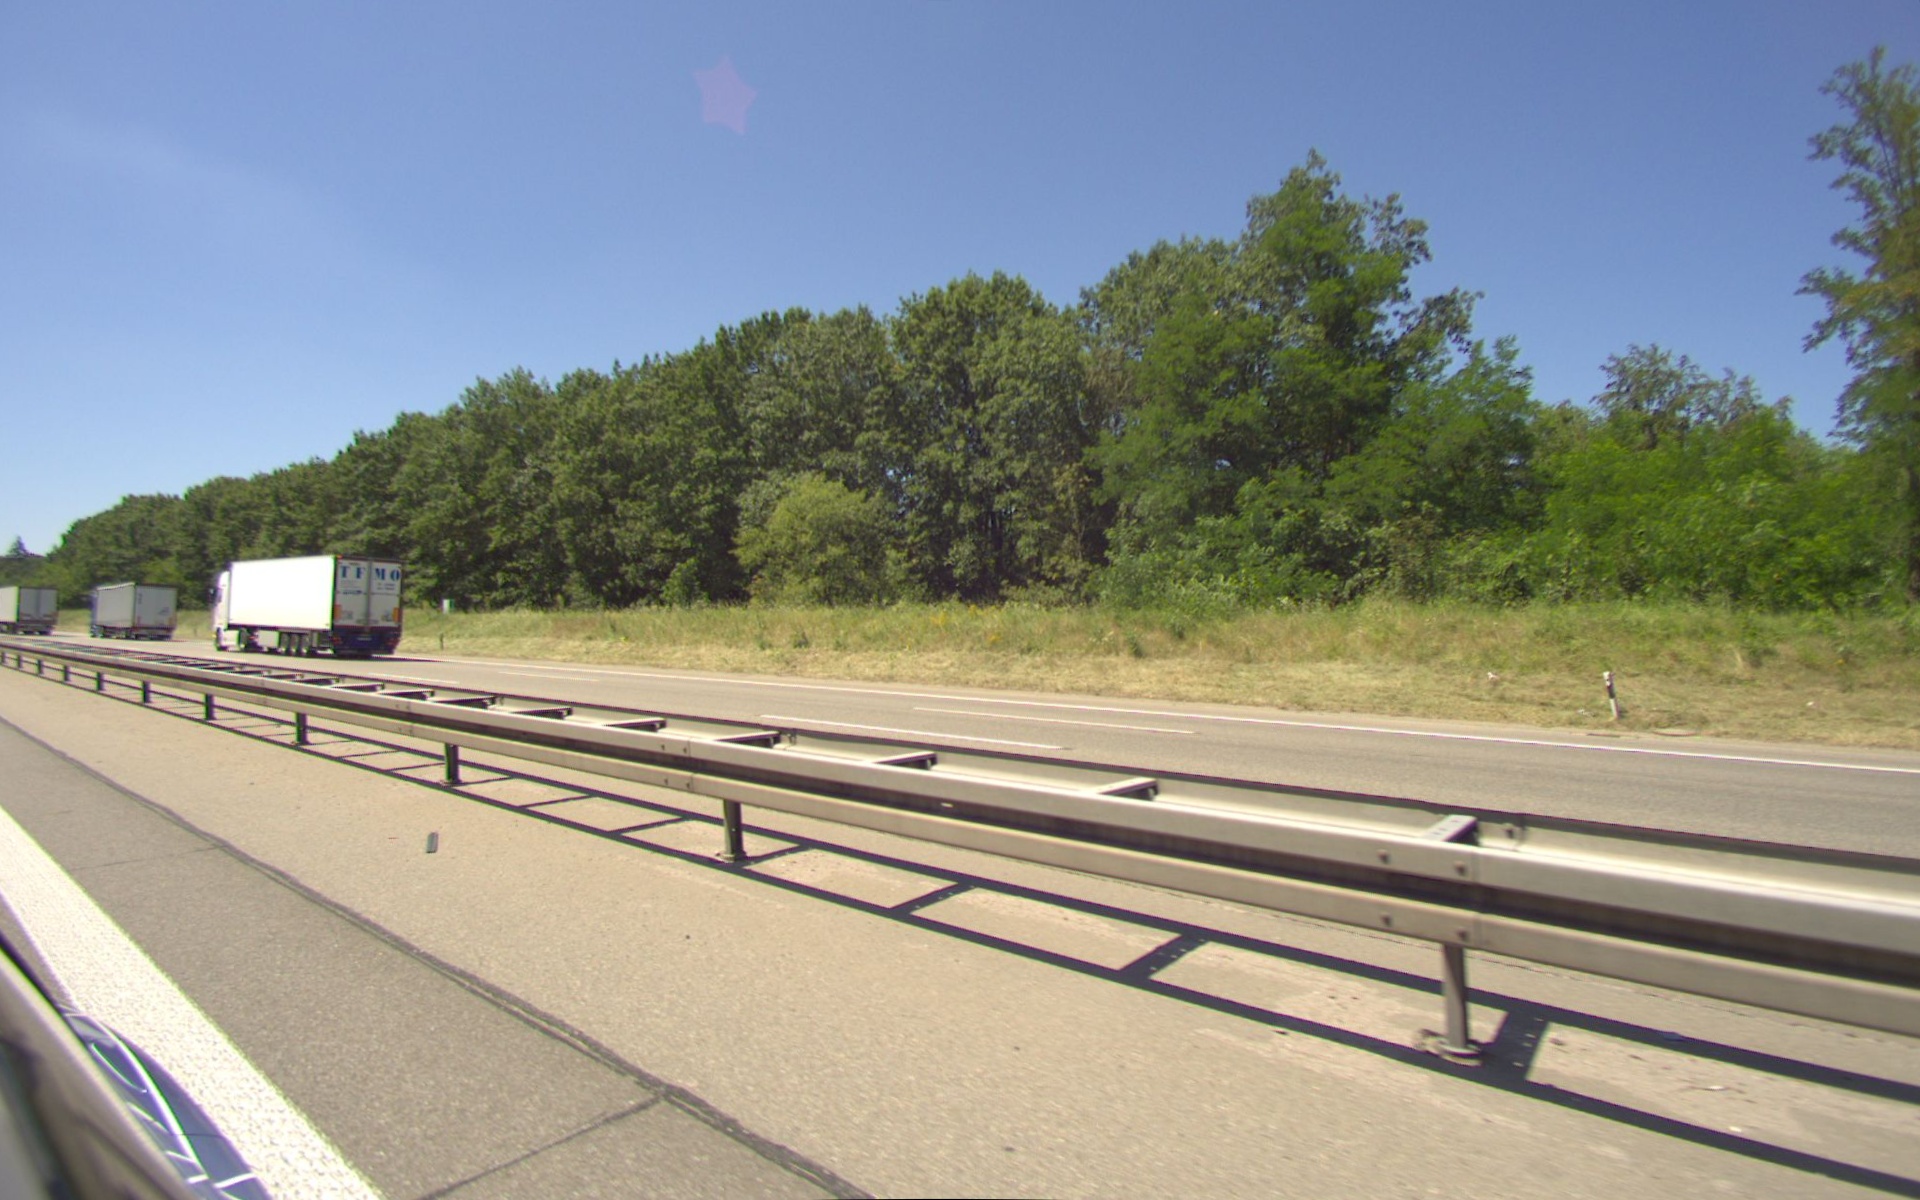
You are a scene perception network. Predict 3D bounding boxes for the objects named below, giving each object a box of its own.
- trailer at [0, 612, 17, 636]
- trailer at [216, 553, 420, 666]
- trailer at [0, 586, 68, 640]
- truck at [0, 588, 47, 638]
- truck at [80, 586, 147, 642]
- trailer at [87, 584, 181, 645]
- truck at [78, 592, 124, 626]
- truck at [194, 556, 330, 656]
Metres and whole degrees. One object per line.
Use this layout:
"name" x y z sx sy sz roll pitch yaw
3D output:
"trailer" -124.371 3.103 130.555 7.170 2.998 3.190 -1 0 40
"trailer" -28.270 0.499 44.109 13.597 4.216 3.494 -1 -4 41
"trailer" -80.284 1.149 86.874 13.655 4.216 3.494 -1 -4 41
"truck" -85.413 1.221 91.258 7.109 4.216 3.494 -1 -4 41
"truck" -67.834 1.189 81.086 6.036 4.216 2.902 -1 -4 41
"trailer" -62.744 1.118 76.688 13.847 4.216 2.902 -1 -4 41
"truck" -74.400 0.780 87.615 6.104 2.789 2.135 -1 0 41
"truck" -33.668 0.369 48.732 7.054 4.354 3.494 -1 -4 41
